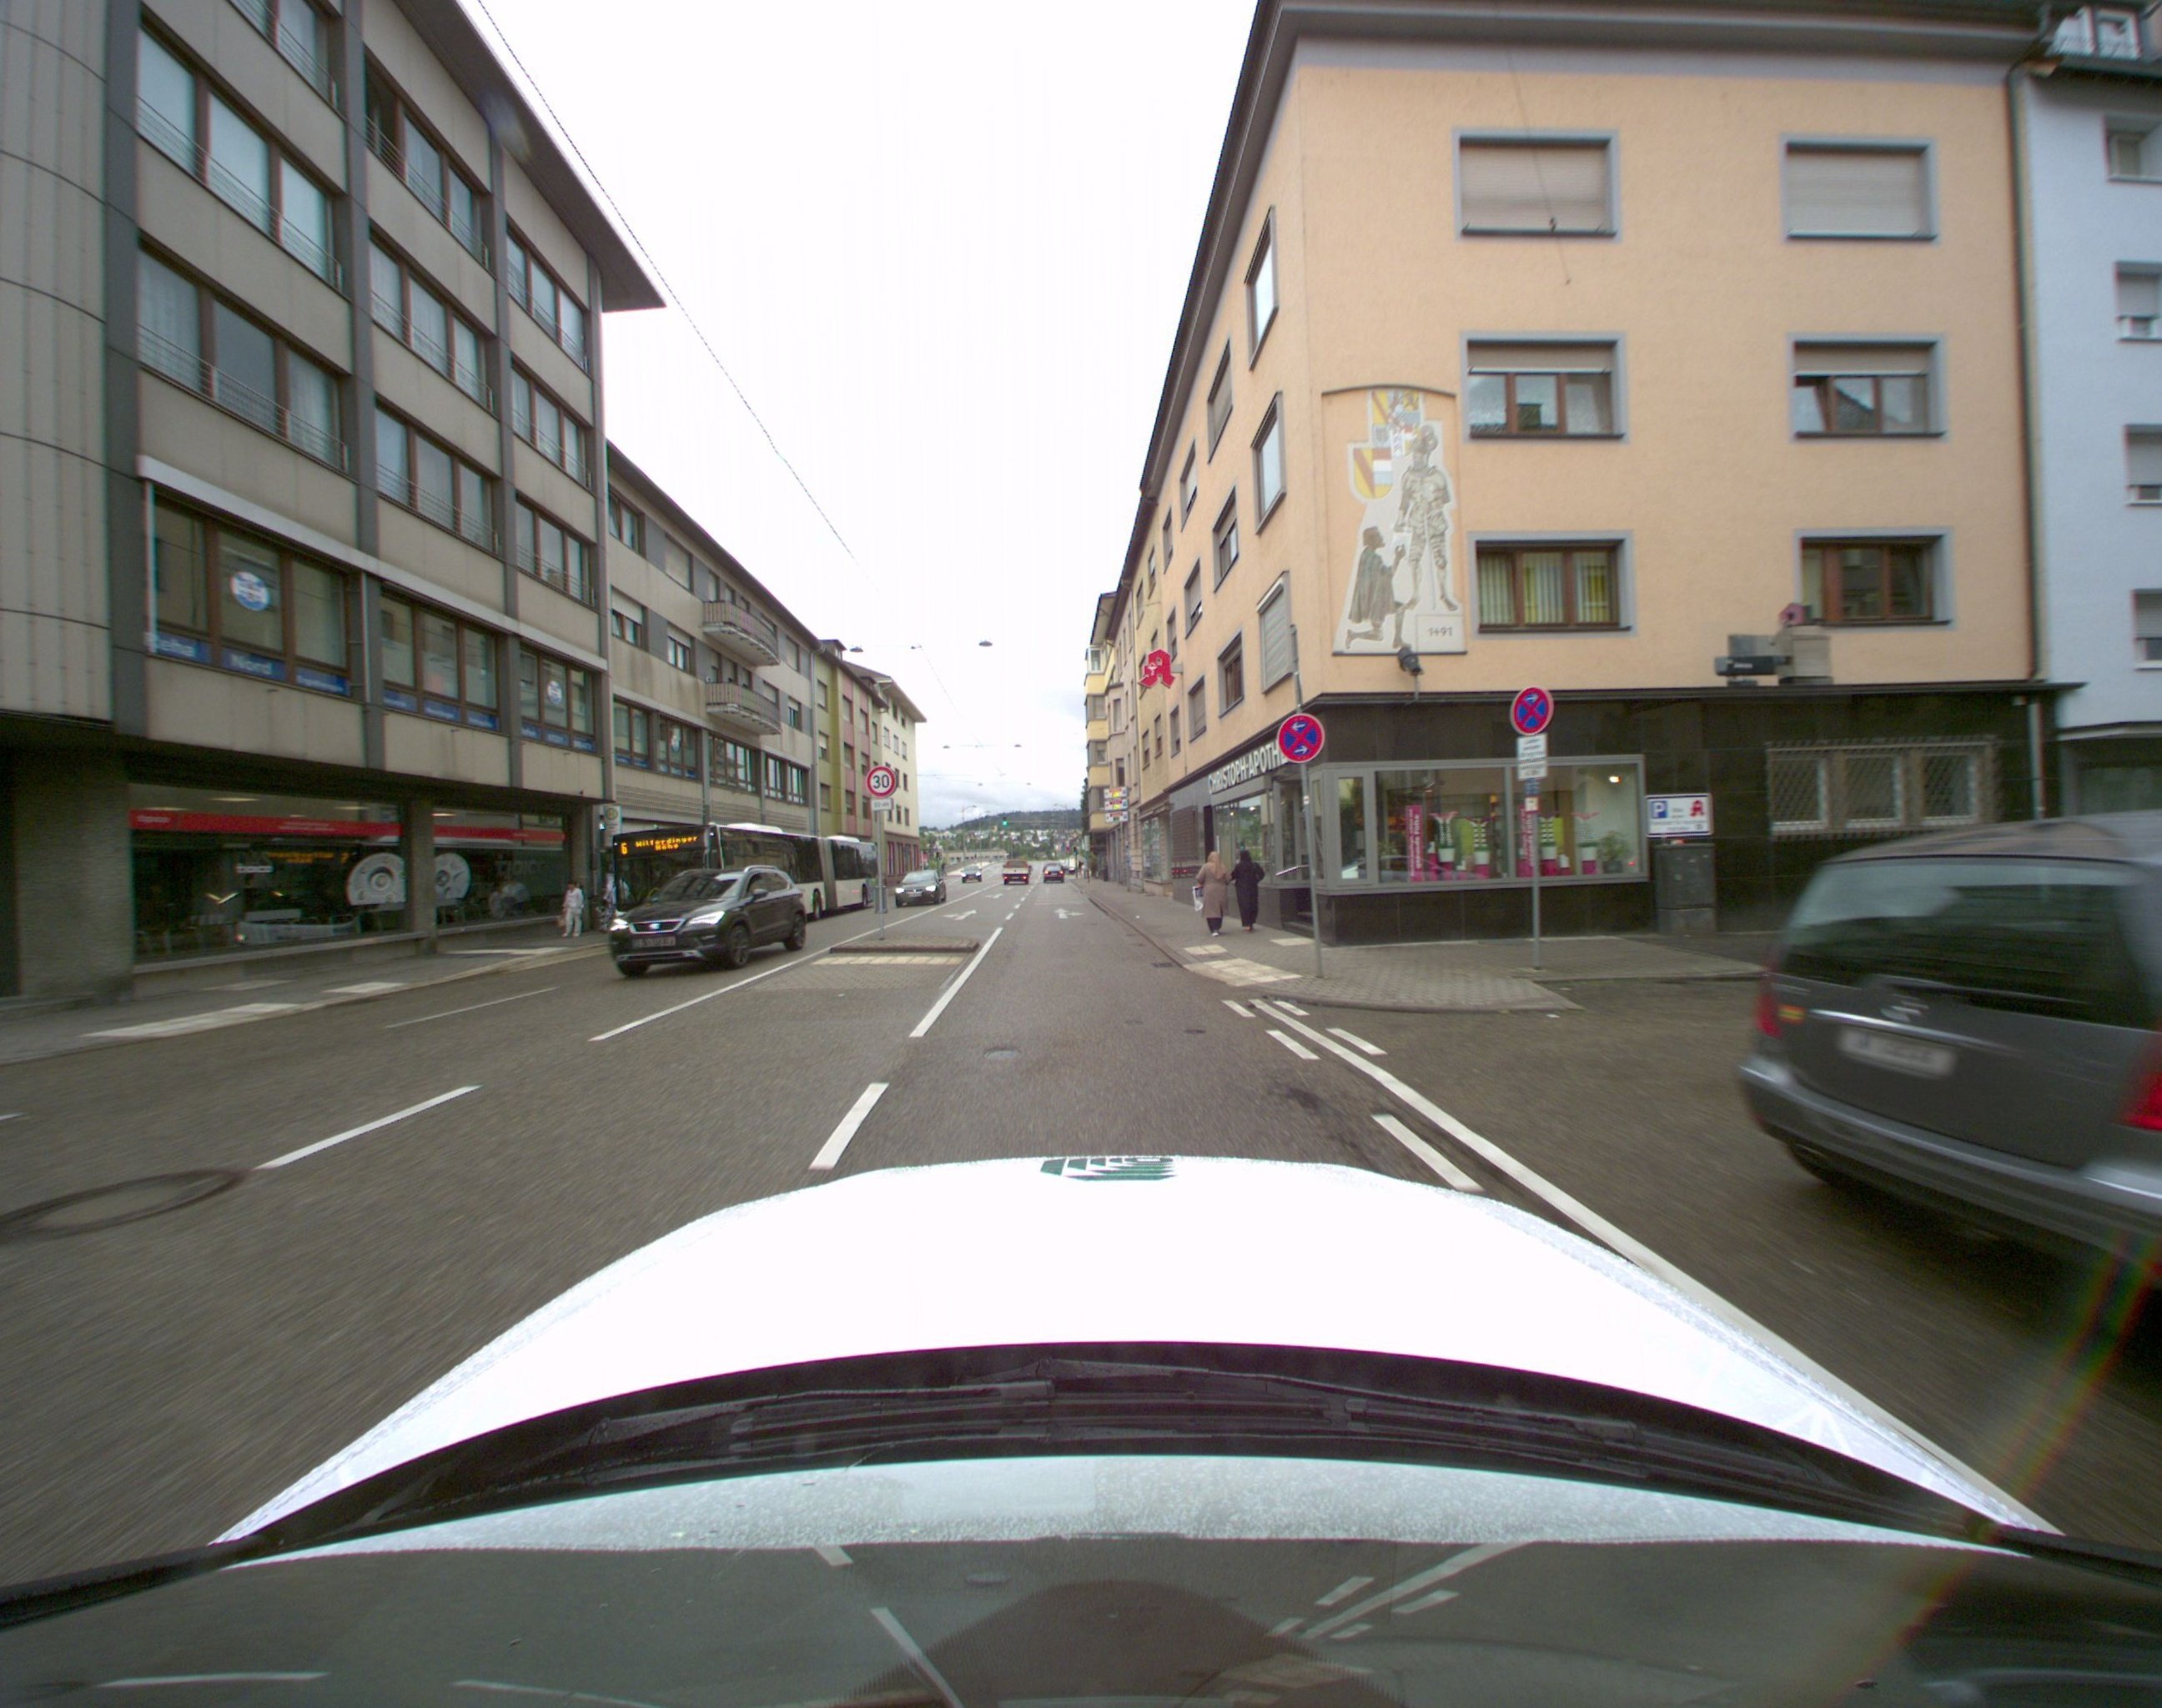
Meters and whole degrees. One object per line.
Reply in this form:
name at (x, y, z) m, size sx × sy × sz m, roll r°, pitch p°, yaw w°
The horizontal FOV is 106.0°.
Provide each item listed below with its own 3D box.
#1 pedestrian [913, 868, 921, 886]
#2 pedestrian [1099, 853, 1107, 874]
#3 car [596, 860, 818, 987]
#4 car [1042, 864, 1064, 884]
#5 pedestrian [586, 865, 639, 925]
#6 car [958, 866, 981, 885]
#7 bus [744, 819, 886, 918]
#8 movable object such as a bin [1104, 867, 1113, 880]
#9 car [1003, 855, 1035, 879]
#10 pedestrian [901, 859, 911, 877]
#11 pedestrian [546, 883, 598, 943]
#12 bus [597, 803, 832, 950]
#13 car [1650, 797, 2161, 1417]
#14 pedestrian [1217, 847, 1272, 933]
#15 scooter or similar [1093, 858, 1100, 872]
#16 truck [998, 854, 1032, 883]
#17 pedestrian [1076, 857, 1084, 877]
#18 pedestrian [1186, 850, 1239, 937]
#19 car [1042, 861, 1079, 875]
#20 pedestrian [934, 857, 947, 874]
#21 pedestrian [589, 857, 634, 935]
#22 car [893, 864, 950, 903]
pedestrian at (-14.612, 2.033, 72.499) m, size 0.574 × 1.553 × 0.738 m, roll -2°, pitch -1°, yaw -5°
pedestrian at (1.827, 0.787, 67.925) m, size 0.617 × 1.699 × 0.656 m, roll -2°, pitch -1°, yaw 1°
car at (-6.059, 1.006, 13.855) m, size 1.738 × 1.662 × 4.415 m, roll -2°, pitch 1°, yaw -1°
car at (-2.325, 1.653, 68.113) m, size 1.750 × 1.479 × 3.996 m, roll -2°, pitch -1°, yaw -2°
pedestrian at (-13.043, 1.136, 22.702) m, size 0.942 × 1.589 × 0.834 m, roll -2°, pitch -1°, yaw 0°
car at (-11.109, 2.081, 81.599) m, size 1.927 × 1.757 × 4.566 m, roll -2°, pitch -1°, yaw -4°
bus at (-10.017, 0.518, 31.908) m, size 2.719 × 3.188 × 9.284 m, roll -2°, pitch -1°, yaw -2°
movable object such as a bin at (2.003, 1.432, 59.732) m, size 0.598 × 0.926 × 0.704 m, roll -2°, pitch -1°, yaw -3°
car at (-6.670, 1.404, 87.535) m, size 2.001 × 2.350 × 4.973 m, roll -2°, pitch -1°, yaw -21°
pedestrian at (-15.616, 1.254, 72.681) m, size 0.772 × 1.577 × 0.588 m, roll -2°, pitch -1°, yaw -3°
pedestrian at (-12.650, 1.452, 20.255) m, size 0.766 × 1.396 × 0.786 m, roll -2°, pitch -1°, yaw 0°
bus at (-9.621, 0.541, 22.825) m, size 2.752 × 3.188 × 8.903 m, roll -2°, pitch -1°, yaw -2°
car at (4.627, 0.569, 2.903) m, size 3.813 × 1.574 × 1.936 m, roll -2°, pitch -1°, yaw 0°
pedestrian at (3.097, 0.673, 15.478) m, size 0.767 × 1.560 × 0.875 m, roll -2°, pitch -1°, yaw -4°
scooter or similar at (1.366, 1.001, 72.579) m, size 0.510 × 1.172 × 1.548 m, roll -2°, pitch -1°, yaw -2°
truck at (-5.184, 1.106, 64.912) m, size 2.394 × 2.129 × 5.309 m, roll -2°, pitch -1°, yaw -3°
pedestrian at (-0.087, 1.269, 79.898) m, size 0.731 × 1.841 × 0.630 m, roll -2°, pitch -1°, yaw -4°
pedestrian at (2.464, 0.735, 15.316) m, size 0.777 × 1.560 × 0.781 m, roll -2°, pitch -1°, yaw -4°
car at (-2.474, 1.666, 98.150) m, size 3.951 × 1.552 × 2.011 m, roll -3°, pitch -1°, yaw 23°
pedestrian at (-17.147, 1.359, 99.257) m, size 0.973 × 2.014 × 1.181 m, roll -3°, pitch -1°, yaw 26°
pedestrian at (-12.402, 1.092, 21.528) m, size 0.676 × 2.014 × 0.776 m, roll -2°, pitch -1°, yaw 0°
car at (-6.570, 1.170, 33.953) m, size 1.705 × 1.451 × 4.080 m, roll -2°, pitch -1°, yaw -3°
